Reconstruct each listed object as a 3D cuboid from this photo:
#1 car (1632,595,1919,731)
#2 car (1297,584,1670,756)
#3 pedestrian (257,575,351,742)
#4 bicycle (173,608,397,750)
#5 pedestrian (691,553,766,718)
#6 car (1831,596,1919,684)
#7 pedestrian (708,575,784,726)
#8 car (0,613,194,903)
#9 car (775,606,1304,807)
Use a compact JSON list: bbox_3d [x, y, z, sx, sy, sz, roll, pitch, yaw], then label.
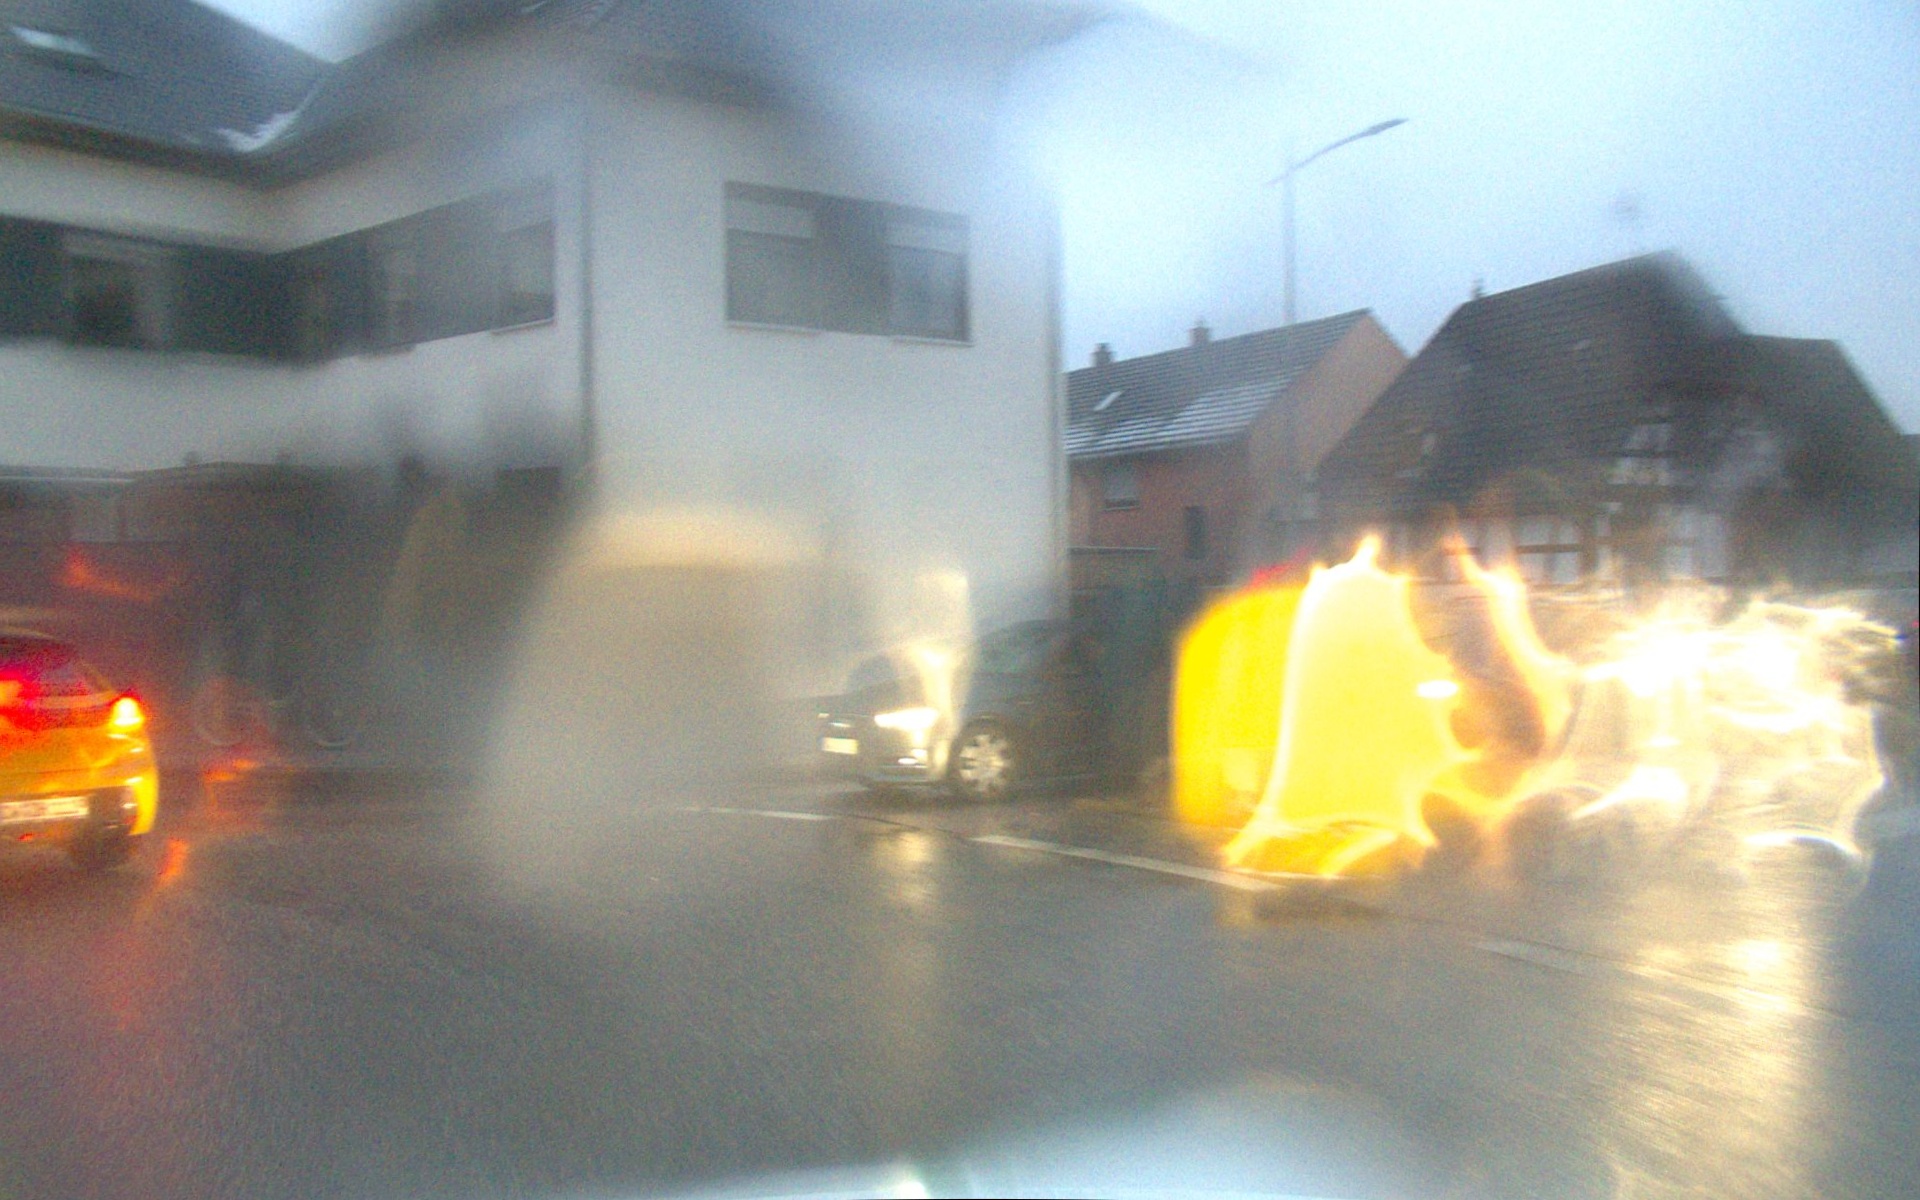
[{"bbox_3d":[10.548,0.740,21.163,4.211,1.534,1.675,-1,0,-37],"label":"car"},{"bbox_3d":[5.461,0.673,17.090,3.955,1.579,1.675,0,-1,-36],"label":"car"},{"bbox_3d":[-6.394,0.558,16.148,0.676,1.591,0.610,0,1,-4],"label":"pedestrian"},{"bbox_3d":[-6.472,0.746,15.909,1.897,1.318,0.551,0,2,-3],"label":"bicycle"},{"bbox_3d":[-2.679,0.391,19.122,0.706,1.863,0.633,0,2,-24],"label":"pedestrian"},{"bbox_3d":[17.926,0.700,30.800,3.672,1.491,1.704,-1,1,-39],"label":"car"},{"bbox_3d":[-2.395,0.543,18.482,0.706,1.649,0.578,0,1,-24],"label":"pedestrian"},{"bbox_3d":[-6.362,0.821,9.531,3.928,1.447,1.711,-1,-1,33],"label":"car"},{"bbox_3d":[0.725,0.808,13.915,4.182,1.408,1.829,-1,-2,-33],"label":"car"}]
